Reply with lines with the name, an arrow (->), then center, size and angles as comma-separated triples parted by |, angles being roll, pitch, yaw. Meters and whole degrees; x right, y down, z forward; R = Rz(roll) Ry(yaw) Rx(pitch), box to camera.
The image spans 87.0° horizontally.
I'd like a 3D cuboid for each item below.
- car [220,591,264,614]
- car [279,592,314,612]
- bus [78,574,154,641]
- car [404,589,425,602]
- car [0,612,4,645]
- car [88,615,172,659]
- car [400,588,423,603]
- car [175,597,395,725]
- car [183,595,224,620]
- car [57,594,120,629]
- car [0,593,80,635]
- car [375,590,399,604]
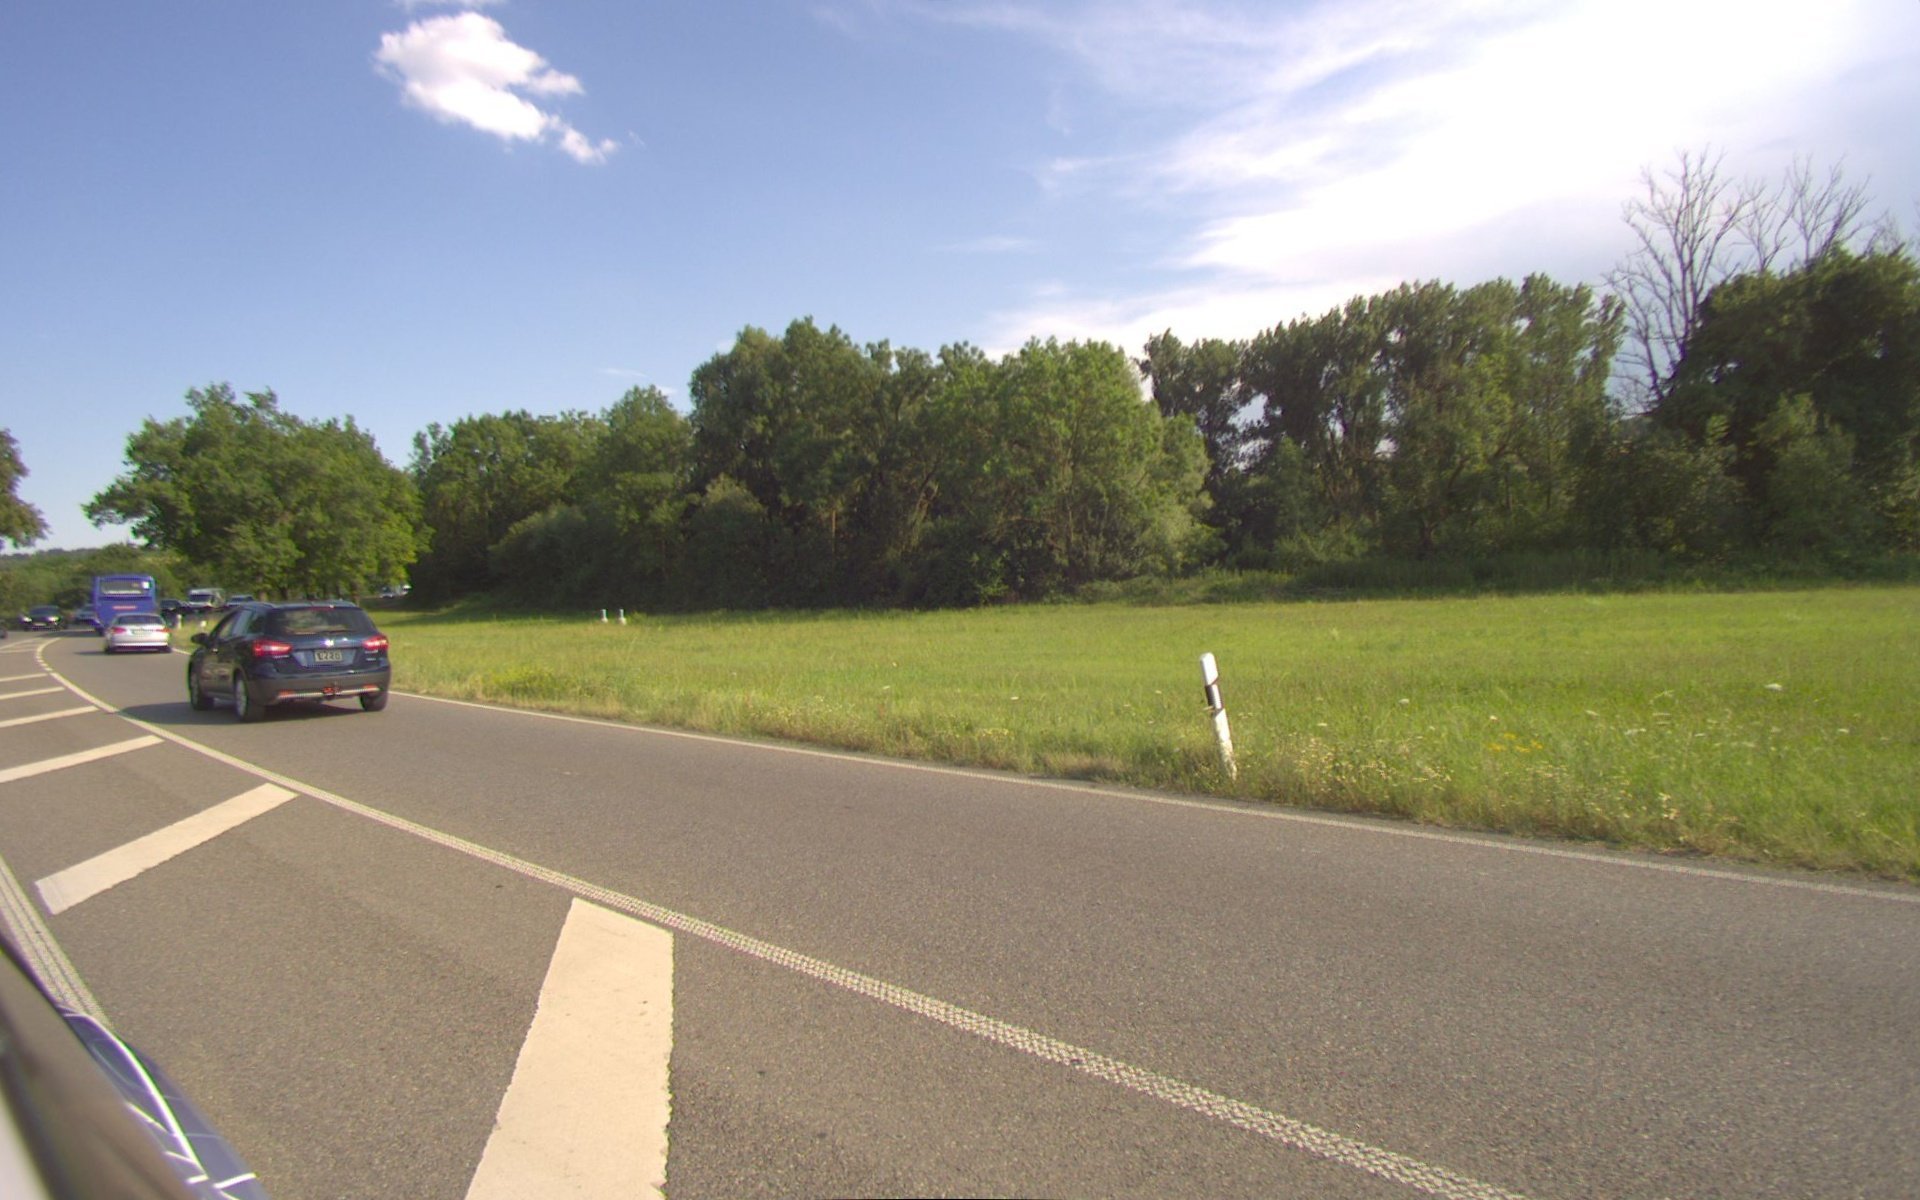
car -> -79.197, 0.237, 111.722 | 2.055, 2.435, 5.155 | -1, 1, -12
car -> -87.657, 0.246, 133.702 | 2.055, 2.435, 5.155 | -1, 1, -12
bus -> -46.092, 0.313, 55.090 | 2.760, 3.205, 12.143 | -2, 2, -42
car -> -103.070, -0.840, 191.201 | 2.055, 2.435, 5.155 | -1, 1, -12
car -> -47.060, 1.386, 48.342 | 1.673, 1.564, 4.160 | 0, 0, -39
car -> -28.575, 1.237, 34.795 | 4.751, 1.344, 1.681 | 0, 1, 44
car -> -93.238, -0.859, 172.085 | 2.055, 2.435, 5.155 | -1, 1, -12
car -> -9.735, 0.813, 14.473 | 4.151, 1.564, 1.676 | -2, -2, 42
car -> -76.660, 0.723, 102.610 | 2.054, 2.435, 5.159 | -2, 1, -23
car -> -65.379, 0.834, 76.016 | 2.054, 2.435, 5.159 | -2, 1, -23
car -> -57.164, 0.816, 62.964 | 2.054, 2.435, 5.159 | -2, 1, -23
car -> -99.529, -0.540, 175.740 | 2.055, 2.435, 5.155 | -1, 1, -12
